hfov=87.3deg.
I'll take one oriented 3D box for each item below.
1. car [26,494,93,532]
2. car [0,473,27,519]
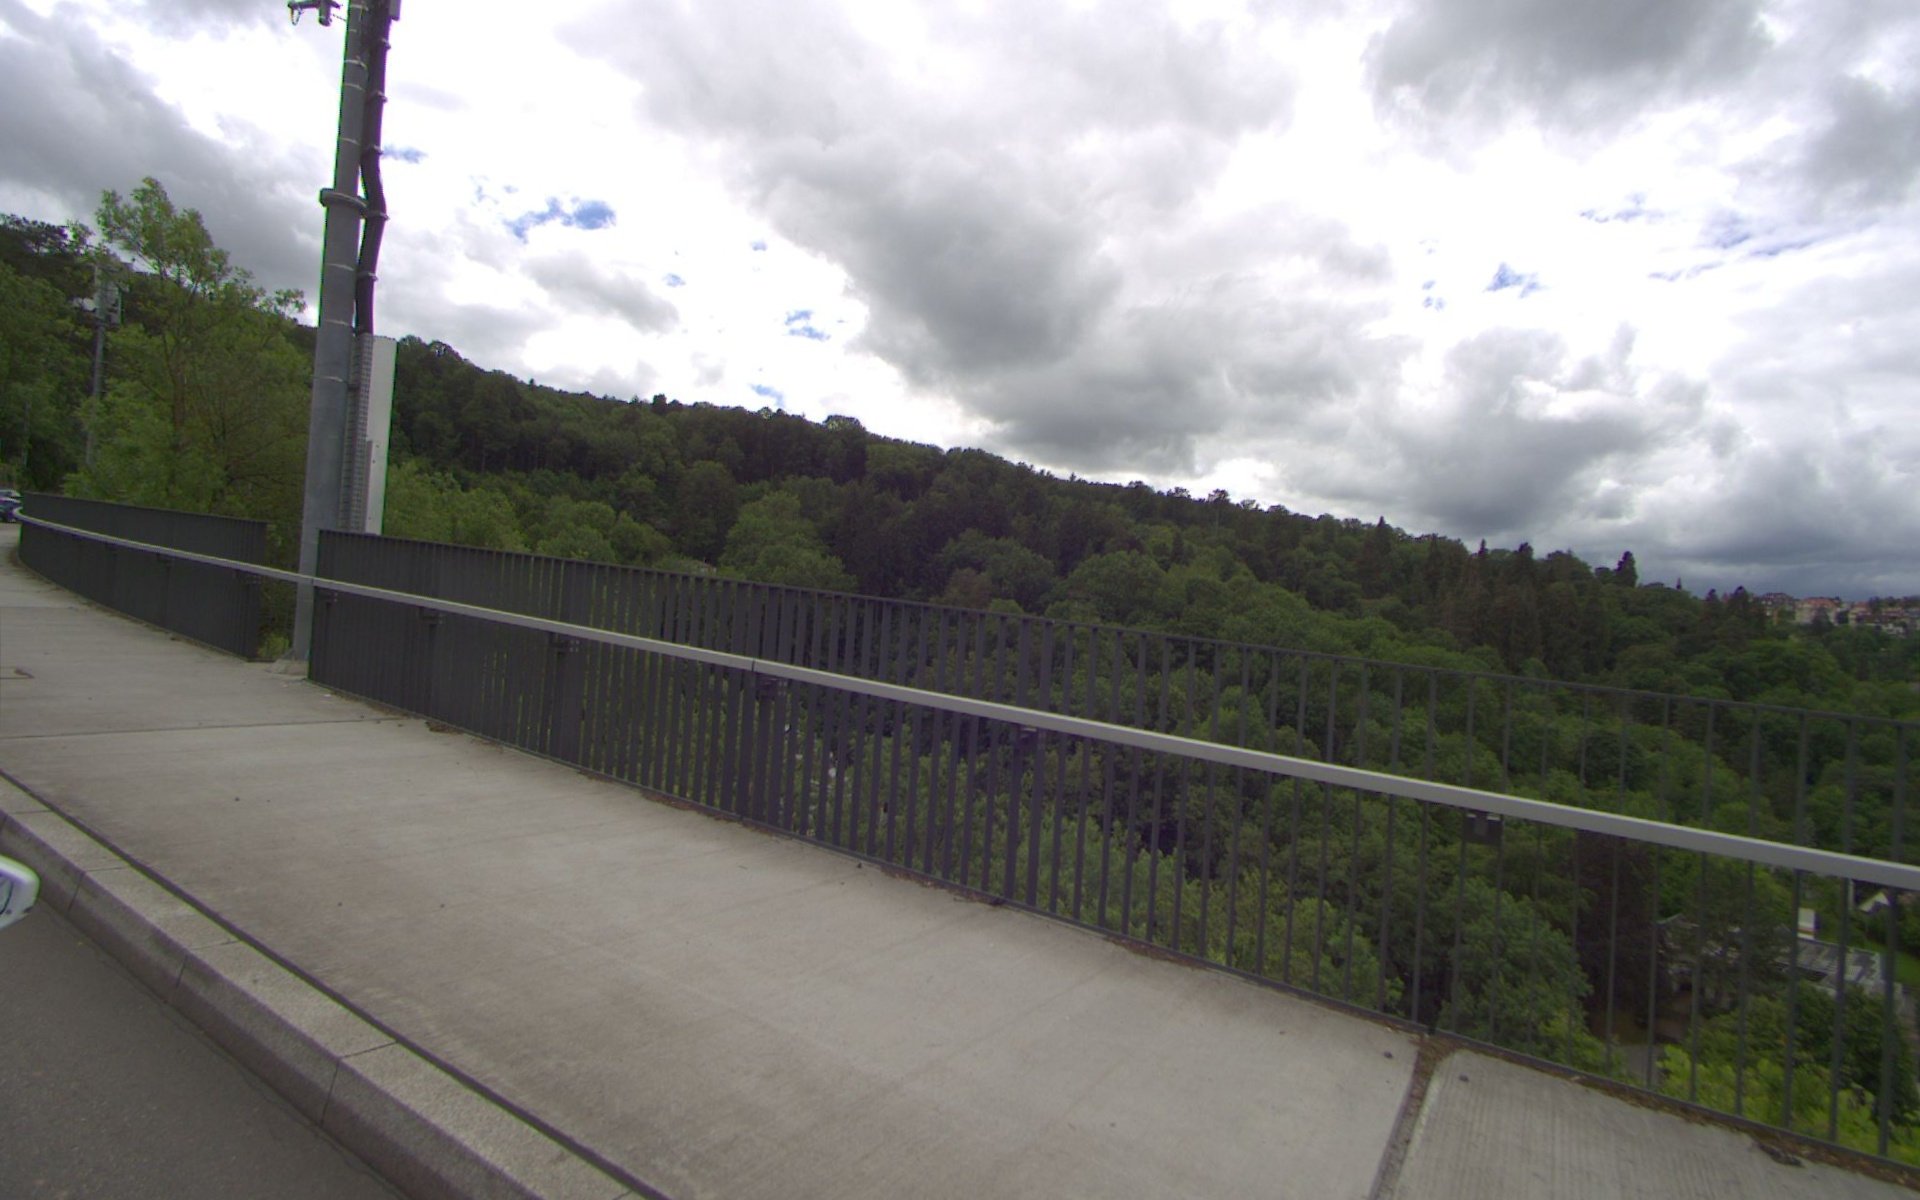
[{"bbox_3d":[-51.437,-4.922,57.524,1.979,1.737,3.968,8,-1,-31],"label":"car"},{"bbox_3d":[-46.041,-4.981,47.698,1.979,2.040,3.963,4,1,-34],"label":"car"}]
